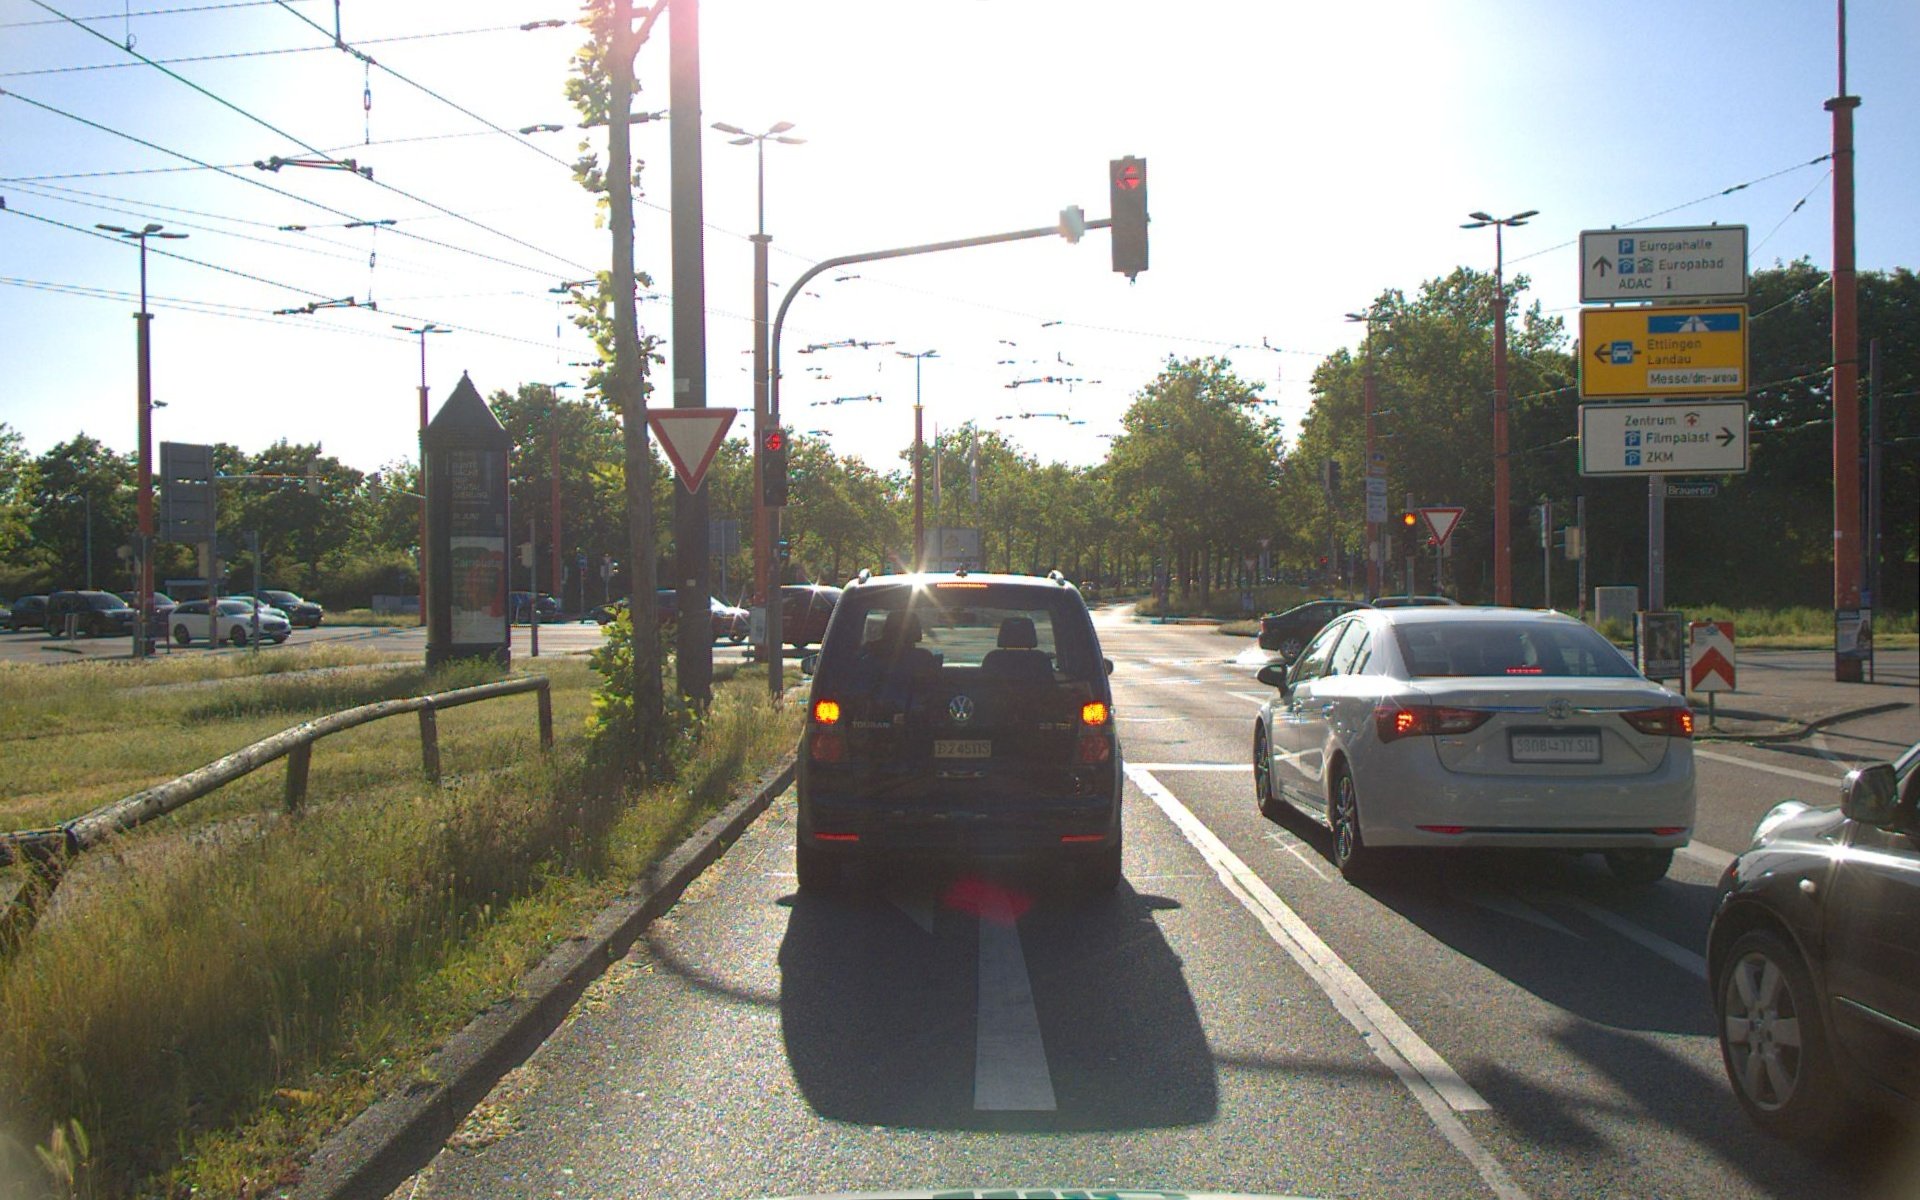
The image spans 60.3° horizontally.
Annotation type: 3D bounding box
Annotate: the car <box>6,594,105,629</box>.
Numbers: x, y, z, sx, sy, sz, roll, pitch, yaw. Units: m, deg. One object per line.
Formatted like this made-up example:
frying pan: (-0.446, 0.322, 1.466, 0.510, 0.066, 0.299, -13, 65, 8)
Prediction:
car: (-40.003, 0.501, 73.168, 3.963, 1.489, 1.912, 0, 0, 26)

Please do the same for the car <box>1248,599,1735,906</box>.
car: (2.947, 0.739, 10.115, 1.679, 1.480, 4.144, 0, 0, 0)

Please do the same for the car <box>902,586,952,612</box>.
car: (-2.181, -0.051, 111.600, 1.951, 1.714, 4.831, 0, 0, 17)

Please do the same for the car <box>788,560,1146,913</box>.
car: (0.006, 0.642, 9.870, 1.702, 1.670, 3.999, 0, 0, -1)

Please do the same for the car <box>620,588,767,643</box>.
car: (-8.578, 0.483, 53.119, 4.463, 1.697, 1.840, 0, 0, 28)

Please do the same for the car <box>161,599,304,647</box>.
car: (-25.408, 0.776, 57.725, 4.819, 1.602, 1.998, 0, 0, 27)

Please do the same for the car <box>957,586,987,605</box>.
car: (1.159, -0.444, 153.113, 1.951, 1.714, 4.833, 0, 0, 10)

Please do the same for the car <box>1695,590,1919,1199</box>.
car: (3.127, 0.742, 3.515, 1.525, 1.532, 3.515, 0, 0, -1)

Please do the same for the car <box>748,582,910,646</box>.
car: (-3.710, 0.378, 46.745, 4.260, 1.762, 1.840, 0, 0, 28)

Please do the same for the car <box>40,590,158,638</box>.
car: (-34.892, 0.549, 67.024, 4.687, 1.868, 1.912, 0, 0, 27)

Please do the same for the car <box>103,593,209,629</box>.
car: (-34.335, 0.444, 70.621, 4.275, 1.489, 1.912, 0, 0, 27)

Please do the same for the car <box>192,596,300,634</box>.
car: (-29.346, 0.602, 67.998, 4.127, 1.489, 1.912, 0, 0, 27)

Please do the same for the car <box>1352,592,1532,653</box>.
car: (12.271, 0.549, 42.184, 4.140, 1.505, 1.751, 0, 0, 29)

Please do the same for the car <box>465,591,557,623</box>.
car: (-23.024, 0.359, 84.806, 4.365, 1.624, 1.998, 0, 0, 26)

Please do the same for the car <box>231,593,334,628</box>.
car: (-29.266, 0.446, 71.407, 4.127, 1.489, 1.912, 0, 0, 27)

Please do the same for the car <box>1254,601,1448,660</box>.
car: (9.346, 0.708, 39.574, 4.222, 1.350, 1.759, 0, 0, 29)

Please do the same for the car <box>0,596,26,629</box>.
car: (-45.051, 0.579, 75.776, 4.143, 1.489, 1.913, 0, 0, 26)
